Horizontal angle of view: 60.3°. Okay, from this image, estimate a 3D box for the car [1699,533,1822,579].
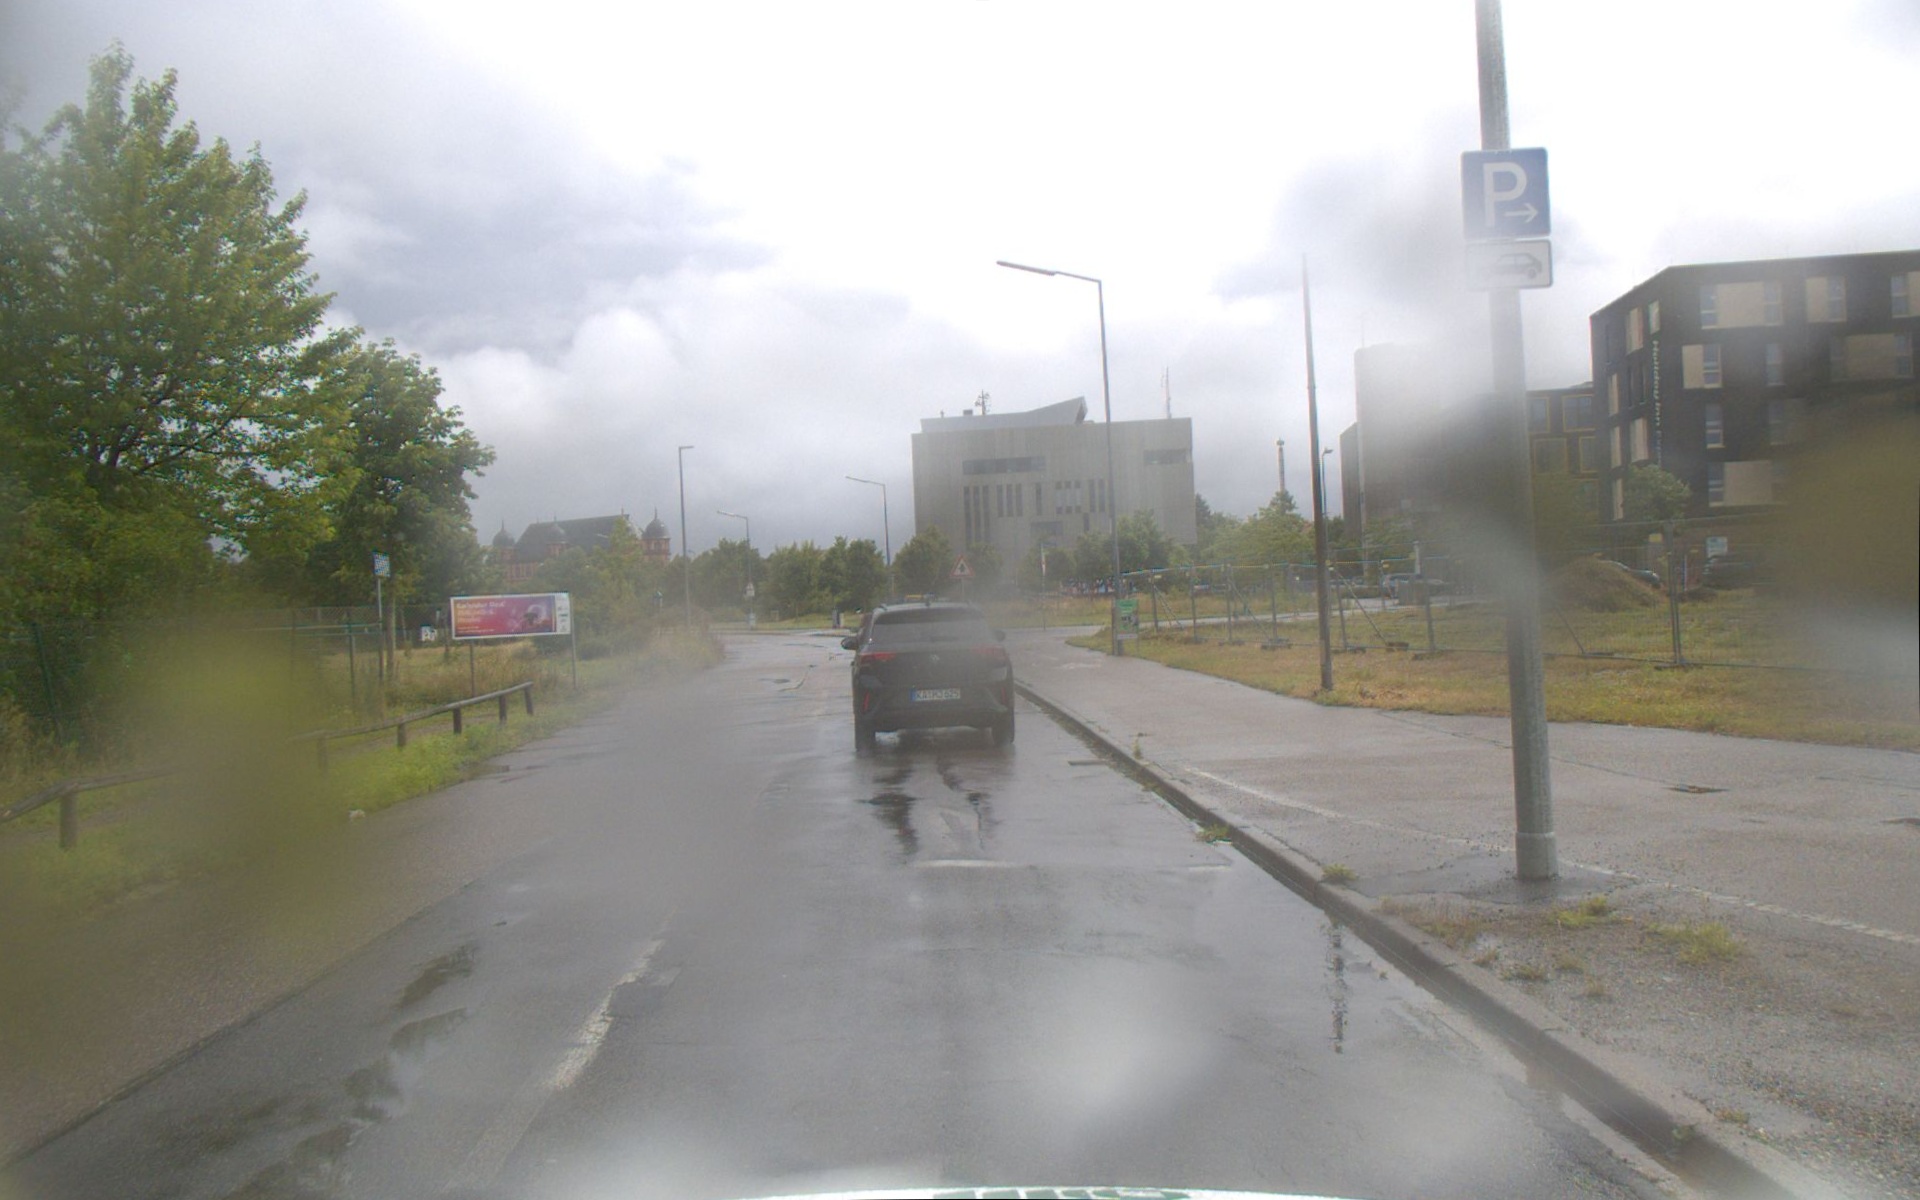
[{"bbox_3d":[31.719,-1.727,65.621,3.904,1.758,2.001,0,0,2],"label":"car"}]

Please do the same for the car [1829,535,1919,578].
[{"bbox_3d":[36.824,-1.715,65.399,3.904,1.670,2.001,0,0,2],"label":"car"}]

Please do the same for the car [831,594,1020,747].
[{"bbox_3d":[-0.447,0.712,19.008,1.947,1.547,3.998,0,0,-3],"label":"car"}]

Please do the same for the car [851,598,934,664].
[{"bbox_3d":[-1.822,0.770,43.361,1.806,1.466,3.995,-5,1,-6],"label":"car"}]

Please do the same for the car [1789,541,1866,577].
[{"bbox_3d":[39.565,-1.850,75.538,1.742,1.554,3.845,0,0,5],"label":"car"}]
